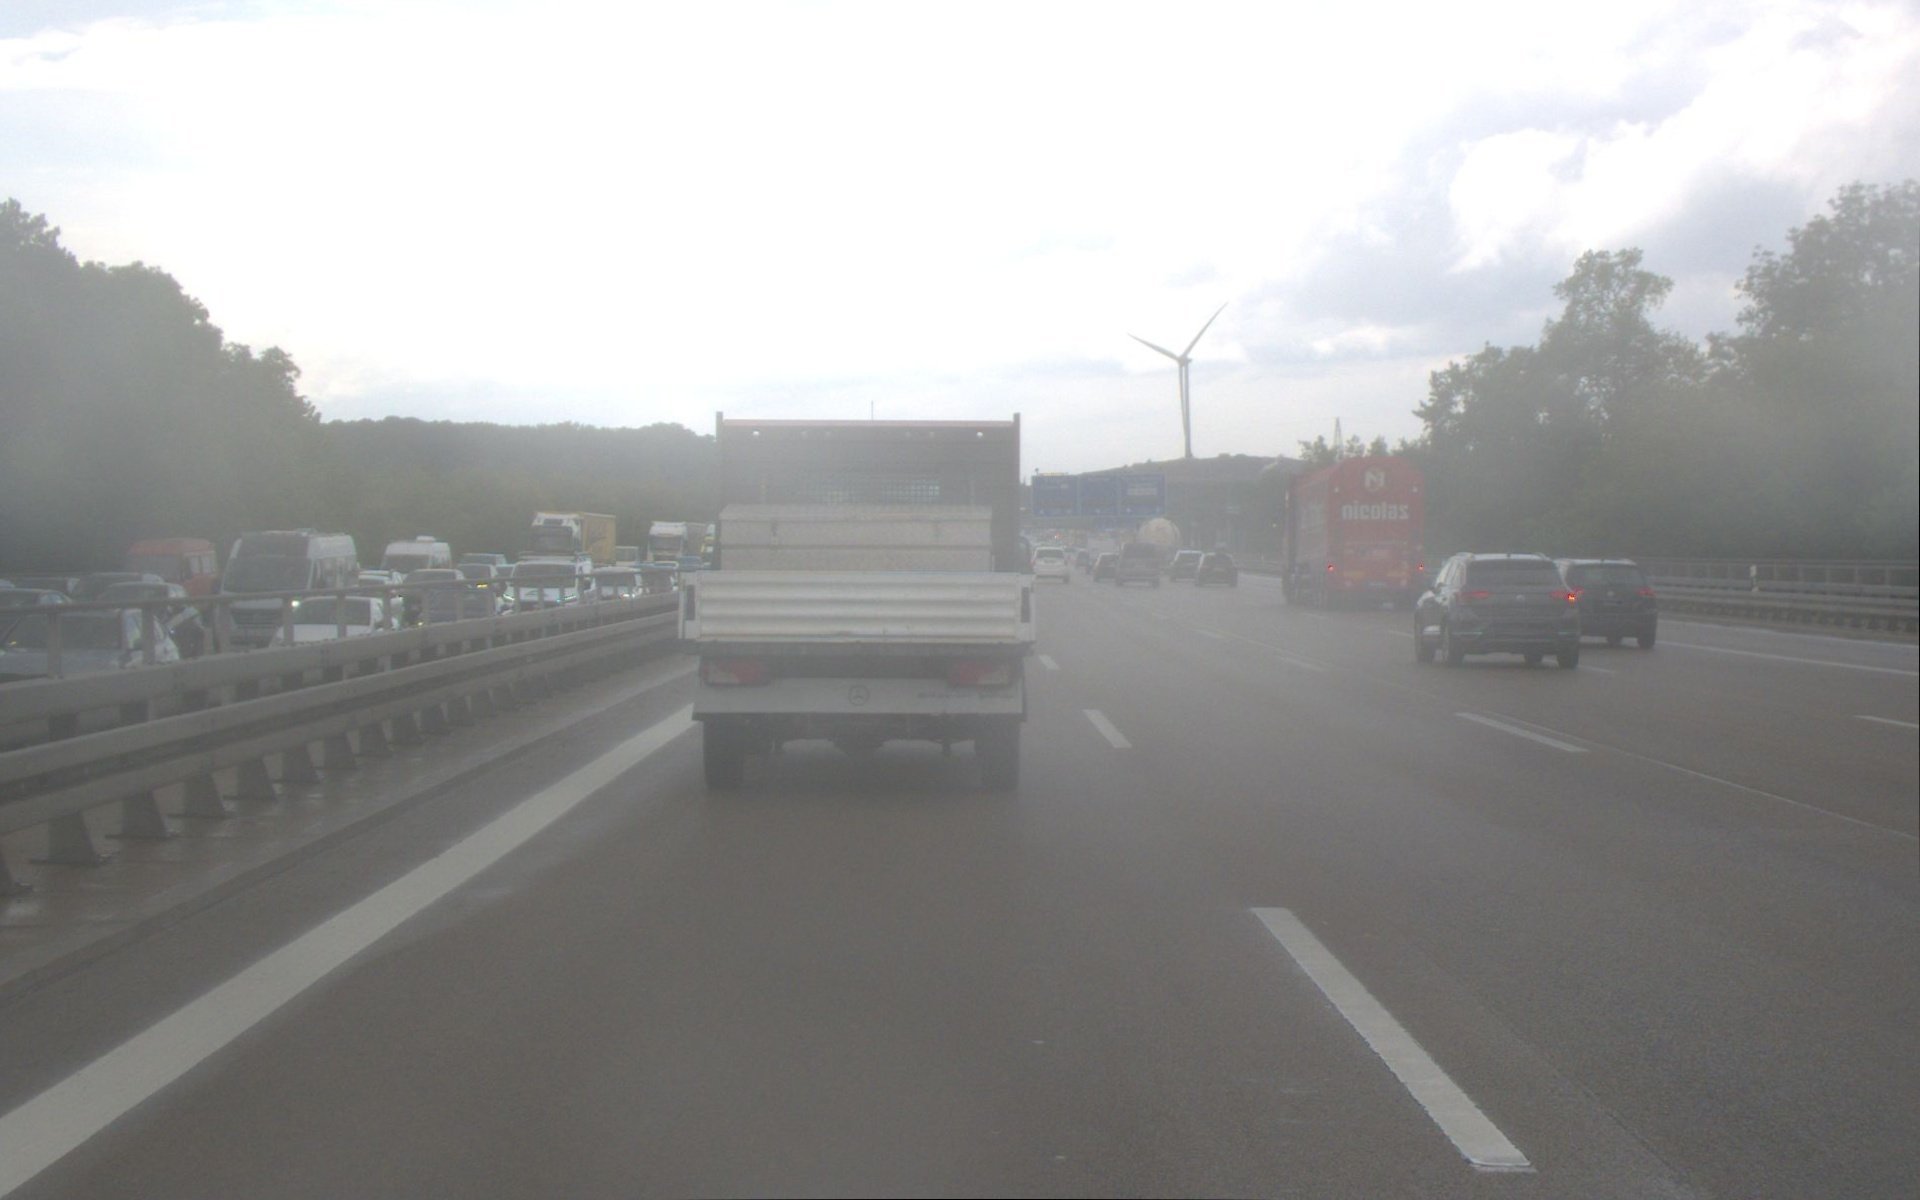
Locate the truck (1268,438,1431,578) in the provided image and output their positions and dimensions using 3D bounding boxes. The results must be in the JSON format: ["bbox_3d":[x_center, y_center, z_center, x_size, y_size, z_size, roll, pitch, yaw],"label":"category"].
[{"bbox_3d":[10.677,-2.589,95.627,3.152,3.589,12.700,1,2,1],"label":"truck"}]

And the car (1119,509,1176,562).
[{"bbox_3d":[7.447,-2.596,137.050,1.993,2.006,4.001,1,2,-1],"label":"car"}]

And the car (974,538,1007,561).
[{"bbox_3d":[2.075,-3.464,234.336,1.967,1.555,4.434,-1,1,-4],"label":"car"}]

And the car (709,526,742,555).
[{"bbox_3d":[-15.218,-3.868,223.348,1.894,1.794,4.596,-1,1,-1],"label":"car"}]

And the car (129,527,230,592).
[{"bbox_3d":[-22.334,-1.169,98.544,1.894,1.794,4.596,-1,1,-1],"label":"car"}]

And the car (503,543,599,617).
[{"bbox_3d":[-10.204,-0.529,86.049,1.894,1.794,4.596,-1,1,-1],"label":"car"}]

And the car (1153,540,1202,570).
[{"bbox_3d":[11.319,-2.354,179.033,1.967,1.555,4.434,-1,1,-4],"label":"car"}]

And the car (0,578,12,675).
[{"bbox_3d":[-18.661,0.529,61.992,1.894,1.794,4.596,-1,1,-1],"label":"car"}]

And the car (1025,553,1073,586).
[{"bbox_3d":[4.362,-1.525,169.294,1.967,1.555,4.434,-1,1,-4],"label":"car"}]

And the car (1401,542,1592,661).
[{"bbox_3d":[7.300,-0.020,47.190,1.882,1.537,4.433,-1,1,-1],"label":"car"}]

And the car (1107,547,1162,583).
[{"bbox_3d":[7.862,-1.598,155.402,1.967,1.555,4.434,-1,1,-4],"label":"car"}]

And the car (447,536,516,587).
[{"bbox_3d":[-17.435,-1.424,125.359,1.894,1.794,4.596,-1,1,-1],"label":"car"}]

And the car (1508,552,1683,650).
[{"bbox_3d":[10.668,-0.012,58.005,1.882,1.555,4.434,-1,1,-4],"label":"car"}]

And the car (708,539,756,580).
[{"bbox_3d":[-10.287,-1.846,155.476,1.894,1.794,4.596,-1,1,-1],"label":"car"}]

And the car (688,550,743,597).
[{"bbox_3d":[-9.777,-1.077,137.758,1.894,1.794,4.596,-1,1,-1],"label":"car"}]

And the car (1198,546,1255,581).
[{"bbox_3d":[12.110,-1.679,156.678,1.967,1.555,4.434,-1,1,-4],"label":"car"}]

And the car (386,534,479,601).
[{"bbox_3d":[-14.650,-0.919,95.655,1.894,1.794,4.596,-1,1,-1],"label":"car"}]

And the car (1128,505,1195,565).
[{"bbox_3d":[6.945,-2.266,118.802,1.993,2.006,4.001,1,2,-1],"label":"car"}]

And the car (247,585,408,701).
[{"bbox_3d":[-10.611,0.692,57.975,1.894,1.794,4.596,-1,1,-1],"label":"car"}]

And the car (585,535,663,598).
[{"bbox_3d":[-9.954,-1.010,102.051,1.894,1.794,4.596,-1,1,-1],"label":"car"}]

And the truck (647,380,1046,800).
[{"bbox_3d":[-0.690,-0.200,23.544,2.307,2.431,7.149,0,2,0],"label":"truck"}]

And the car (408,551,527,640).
[{"bbox_3d":[-10.420,-0.126,72.954,1.894,1.794,4.596,-1,1,-1],"label":"car"}]

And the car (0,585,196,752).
[{"bbox_3d":[-10.481,0.762,40.680,1.894,1.794,4.596,-1,1,-1],"label":"car"}]

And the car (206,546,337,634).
[{"bbox_3d":[-14.680,-0.241,73.516,1.894,1.794,4.596,-1,1,-1],"label":"car"}]

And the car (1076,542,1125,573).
[{"bbox_3d":[7.191,-2.217,176.754,1.967,1.555,4.434,-1,1,-5],"label":"car"}]

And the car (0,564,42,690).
[{"bbox_3d":[-14.736,0.410,49.385,1.894,1.794,4.596,-1,1,-1],"label":"car"}]
